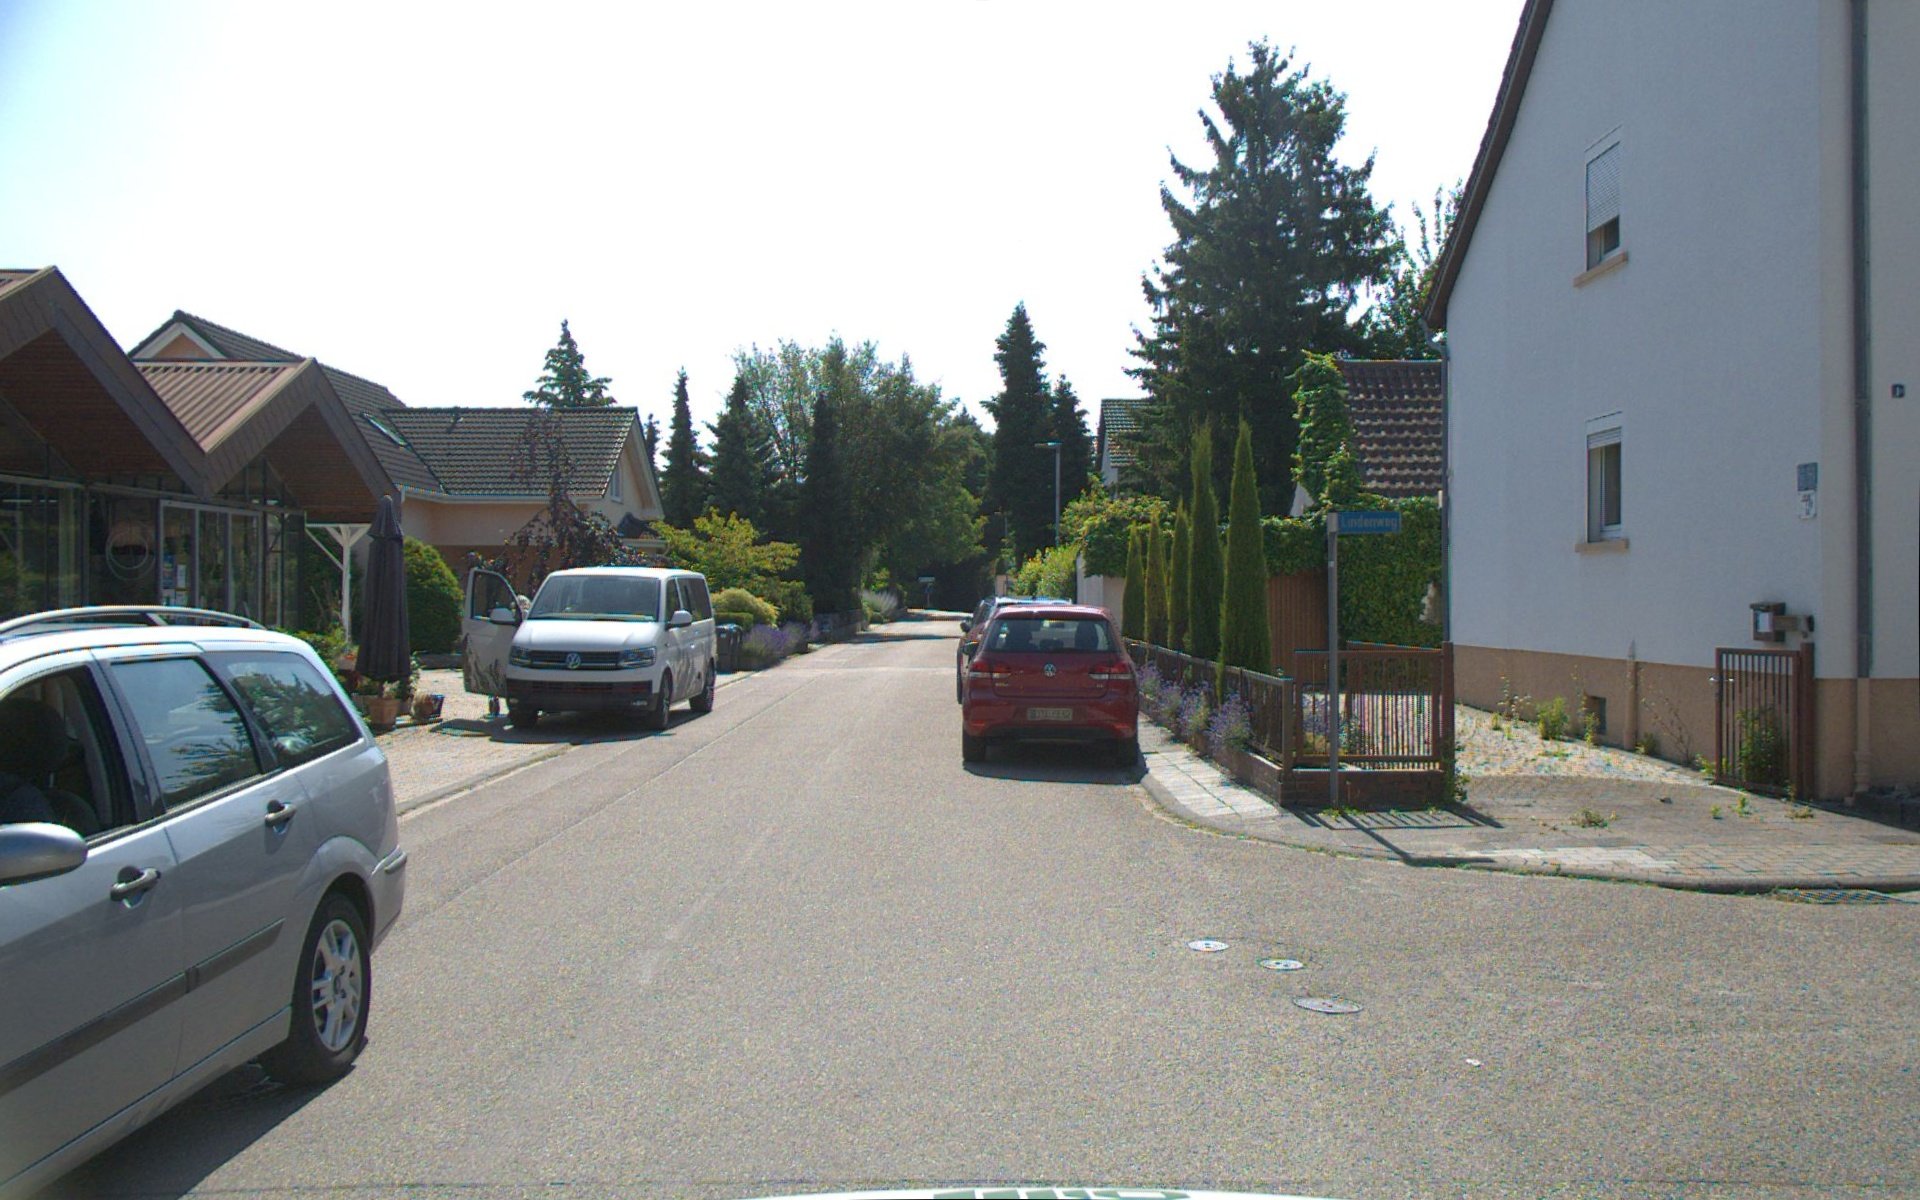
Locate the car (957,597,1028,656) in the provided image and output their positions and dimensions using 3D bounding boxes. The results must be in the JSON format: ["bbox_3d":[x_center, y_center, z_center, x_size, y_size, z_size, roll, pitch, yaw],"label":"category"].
[{"bbox_3d":[0.793,0.654,42.418,1.668,1.424,3.999,1,0,-1],"label":"car"}]

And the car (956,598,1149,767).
[{"bbox_3d":[0.968,0.760,17.194,1.738,1.505,4.002,1,0,3],"label":"car"}]

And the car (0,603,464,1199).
[{"bbox_3d":[-2.822,0.801,4.174,1.716,1.513,4.376,-2,0,1],"label":"car"}]

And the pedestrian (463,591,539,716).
[{"bbox_3d":[-5.898,0.673,21.263,0.704,1.565,0.640,0,0,33],"label":"pedestrian"}]

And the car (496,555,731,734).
[{"bbox_3d":[-4.330,0.513,21.477,1.889,2.049,4.897,0,0,2],"label":"car"}]

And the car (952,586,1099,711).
[{"bbox_3d":[0.856,0.649,23.931,1.786,1.643,3.998,1,0,-3],"label":"car"}]

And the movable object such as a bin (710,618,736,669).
[{"bbox_3d":[-4.953,0.909,34.591,0.484,1.042,0.447,-1,0,0],"label":"movable object such as a bin"}]

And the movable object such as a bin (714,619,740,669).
[{"bbox_3d":[-4.935,0.925,35.065,0.484,1.042,0.447,-1,0,0],"label":"movable object such as a bin"}]
